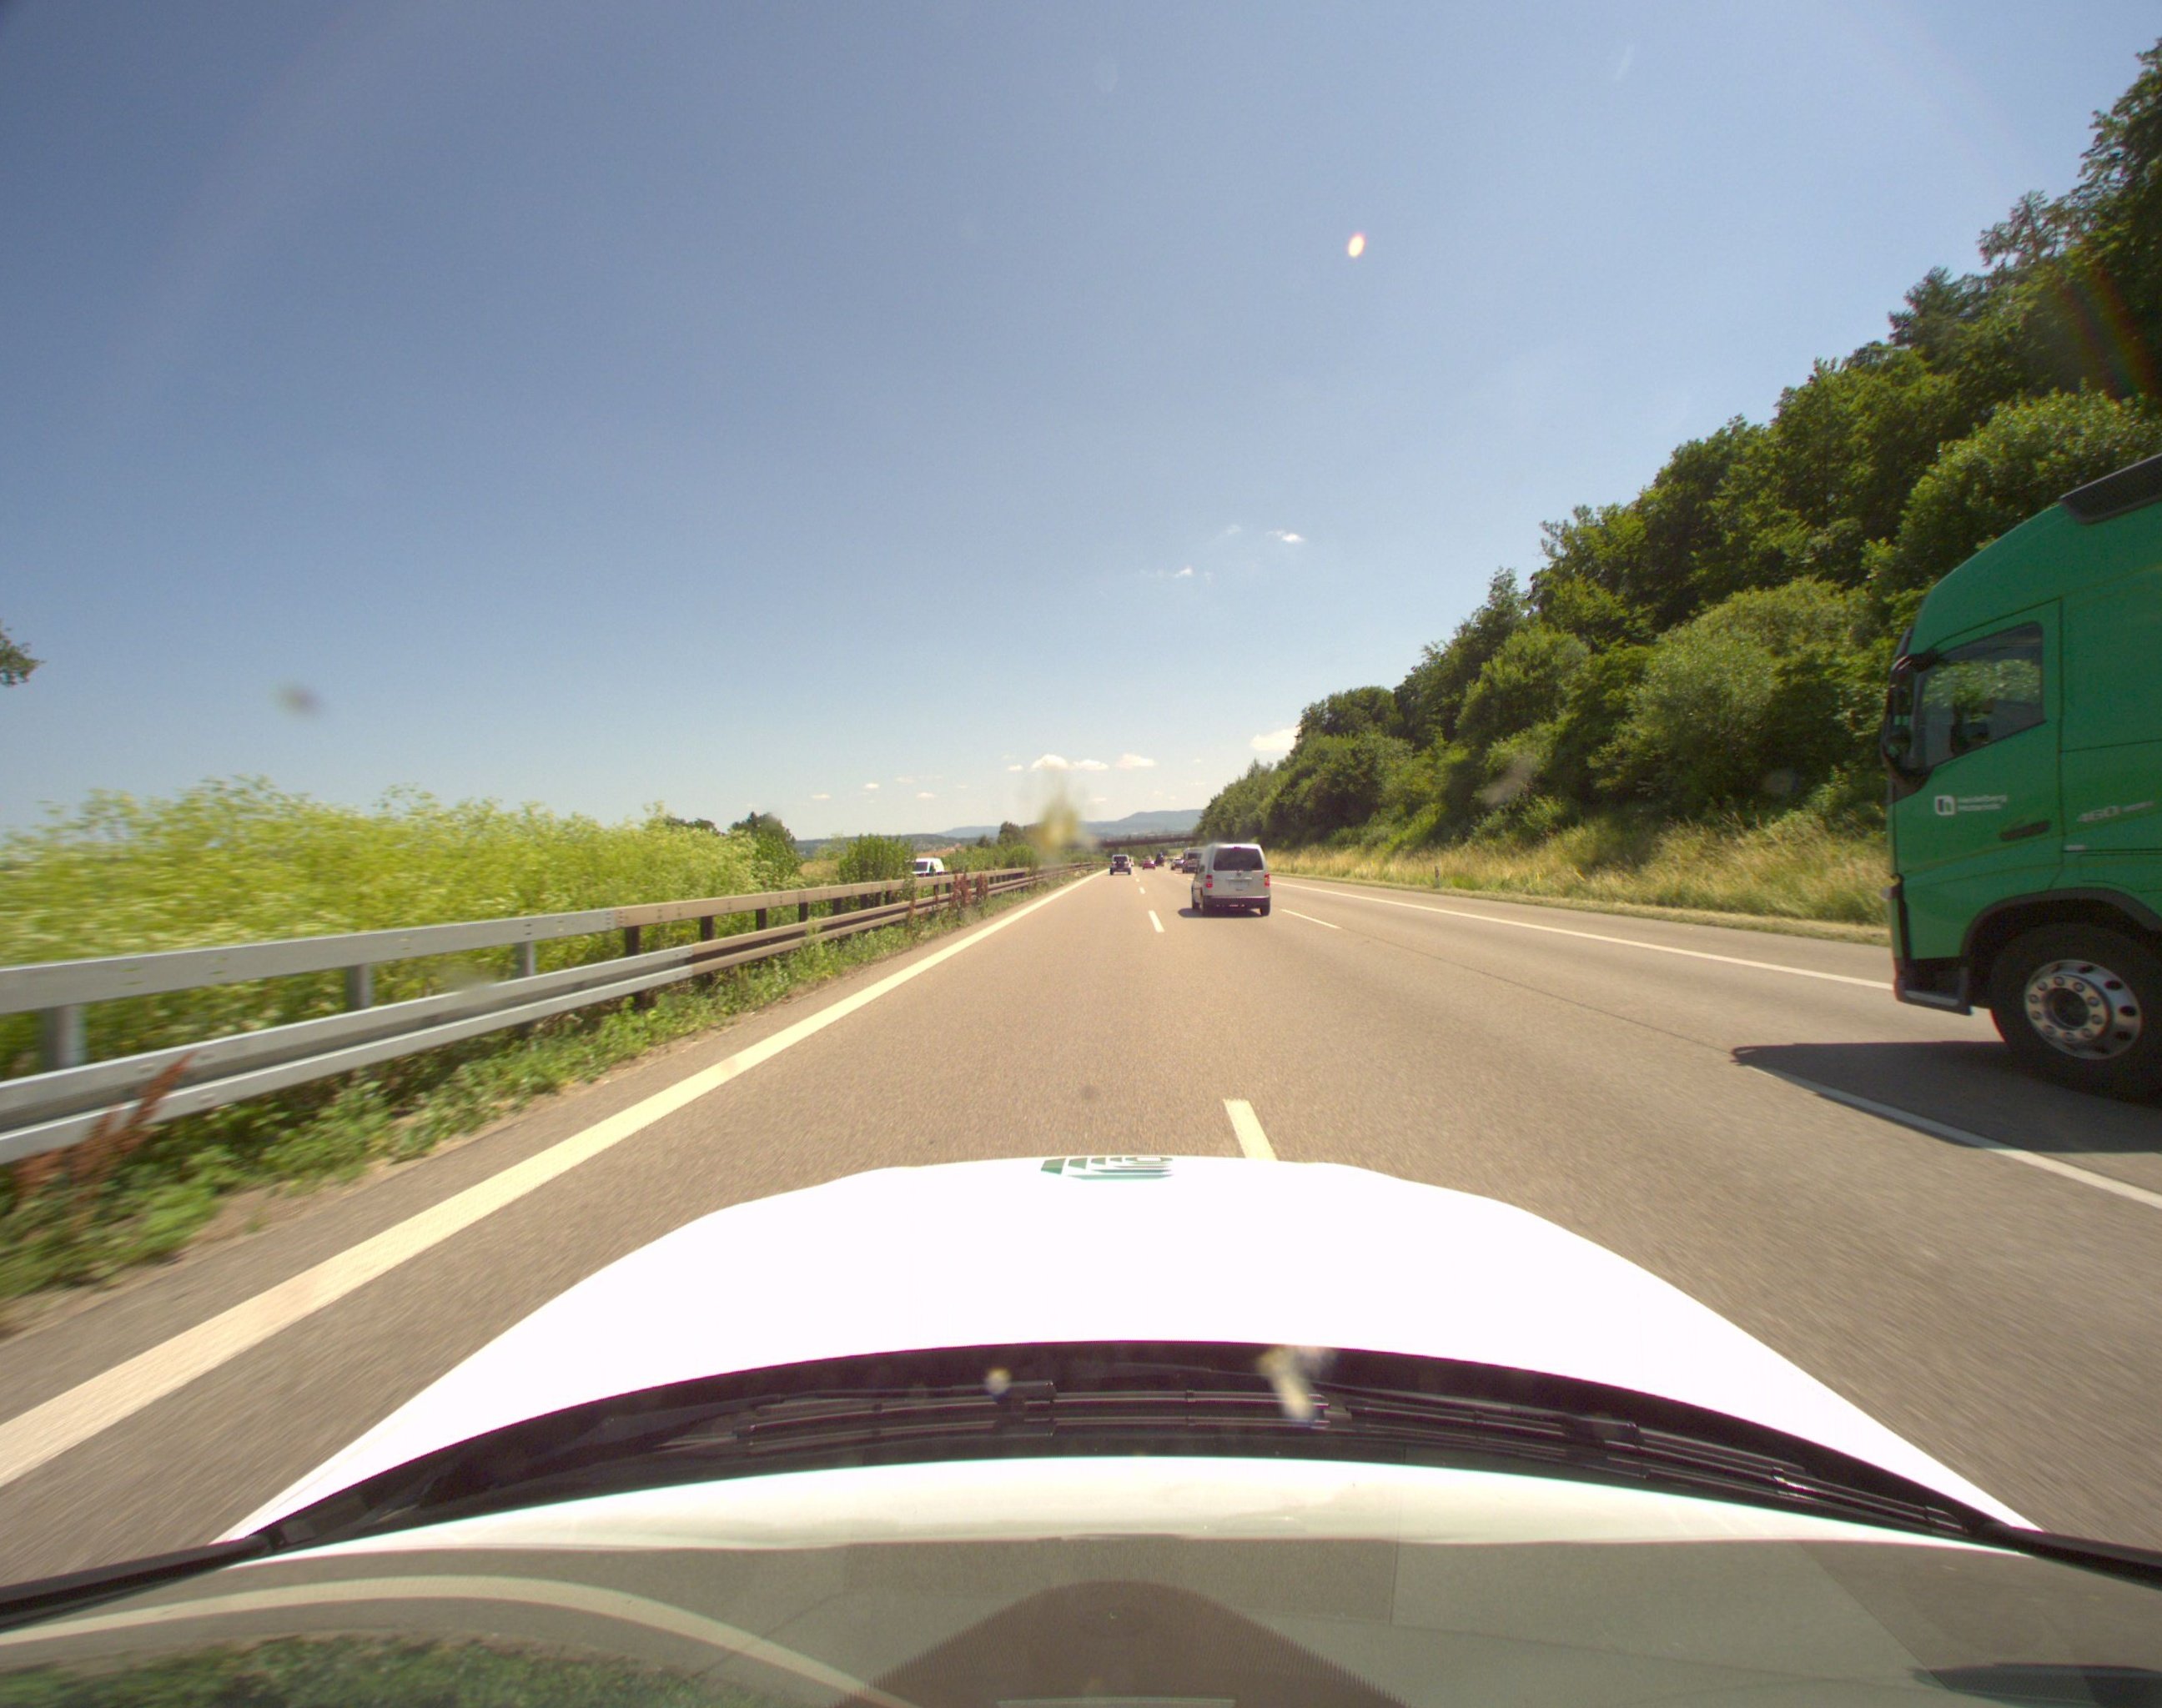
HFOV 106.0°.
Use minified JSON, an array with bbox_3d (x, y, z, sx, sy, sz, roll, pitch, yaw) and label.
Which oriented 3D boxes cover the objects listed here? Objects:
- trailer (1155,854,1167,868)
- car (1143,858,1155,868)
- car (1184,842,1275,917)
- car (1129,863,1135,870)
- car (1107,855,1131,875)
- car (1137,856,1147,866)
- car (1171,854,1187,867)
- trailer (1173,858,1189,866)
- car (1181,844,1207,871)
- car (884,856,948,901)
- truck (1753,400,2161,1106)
[{"bbox_3d":[24.664,2.028,250.400,2.839,3.993,15.433,-1,0,8],"label":"trailer"},{"bbox_3d":[9.876,1.254,118.801,1.679,1.379,3.952,-1,0,3],"label":"car"},{"bbox_3d":[3.949,0.610,22.394,1.739,1.829,4.802,-1,0,1],"label":"car"},{"bbox_3d":[13.796,3.375,220.452,1.690,2.013,3.826,-1,0,4],"label":"car"},{"bbox_3d":[3.627,1.015,76.894,2.074,1.829,4.760,-1,0,5],"label":"car"},{"bbox_3d":[12.935,1.432,172.374,1.985,2.013,4.004,-1,0,3],"label":"car"},{"bbox_3d":[13.239,0.902,110.366,1.774,1.650,4.406,-1,0,2],"label":"car"},{"bbox_3d":[13.008,1.005,106.013,1.747,0.908,4.323,-1,0,3],"label":"trailer"},{"bbox_3d":[11.297,0.285,81.911,2.080,2.576,6.629,-1,0,4],"label":"car"},{"bbox_3d":[-8.106,1.150,40.530,1.897,2.013,5.369,-1,0,2],"label":"car"},{"bbox_3d":[7.155,-0.560,4.769,2.500,3.841,4.895,-1,0,2],"label":"truck"}]
